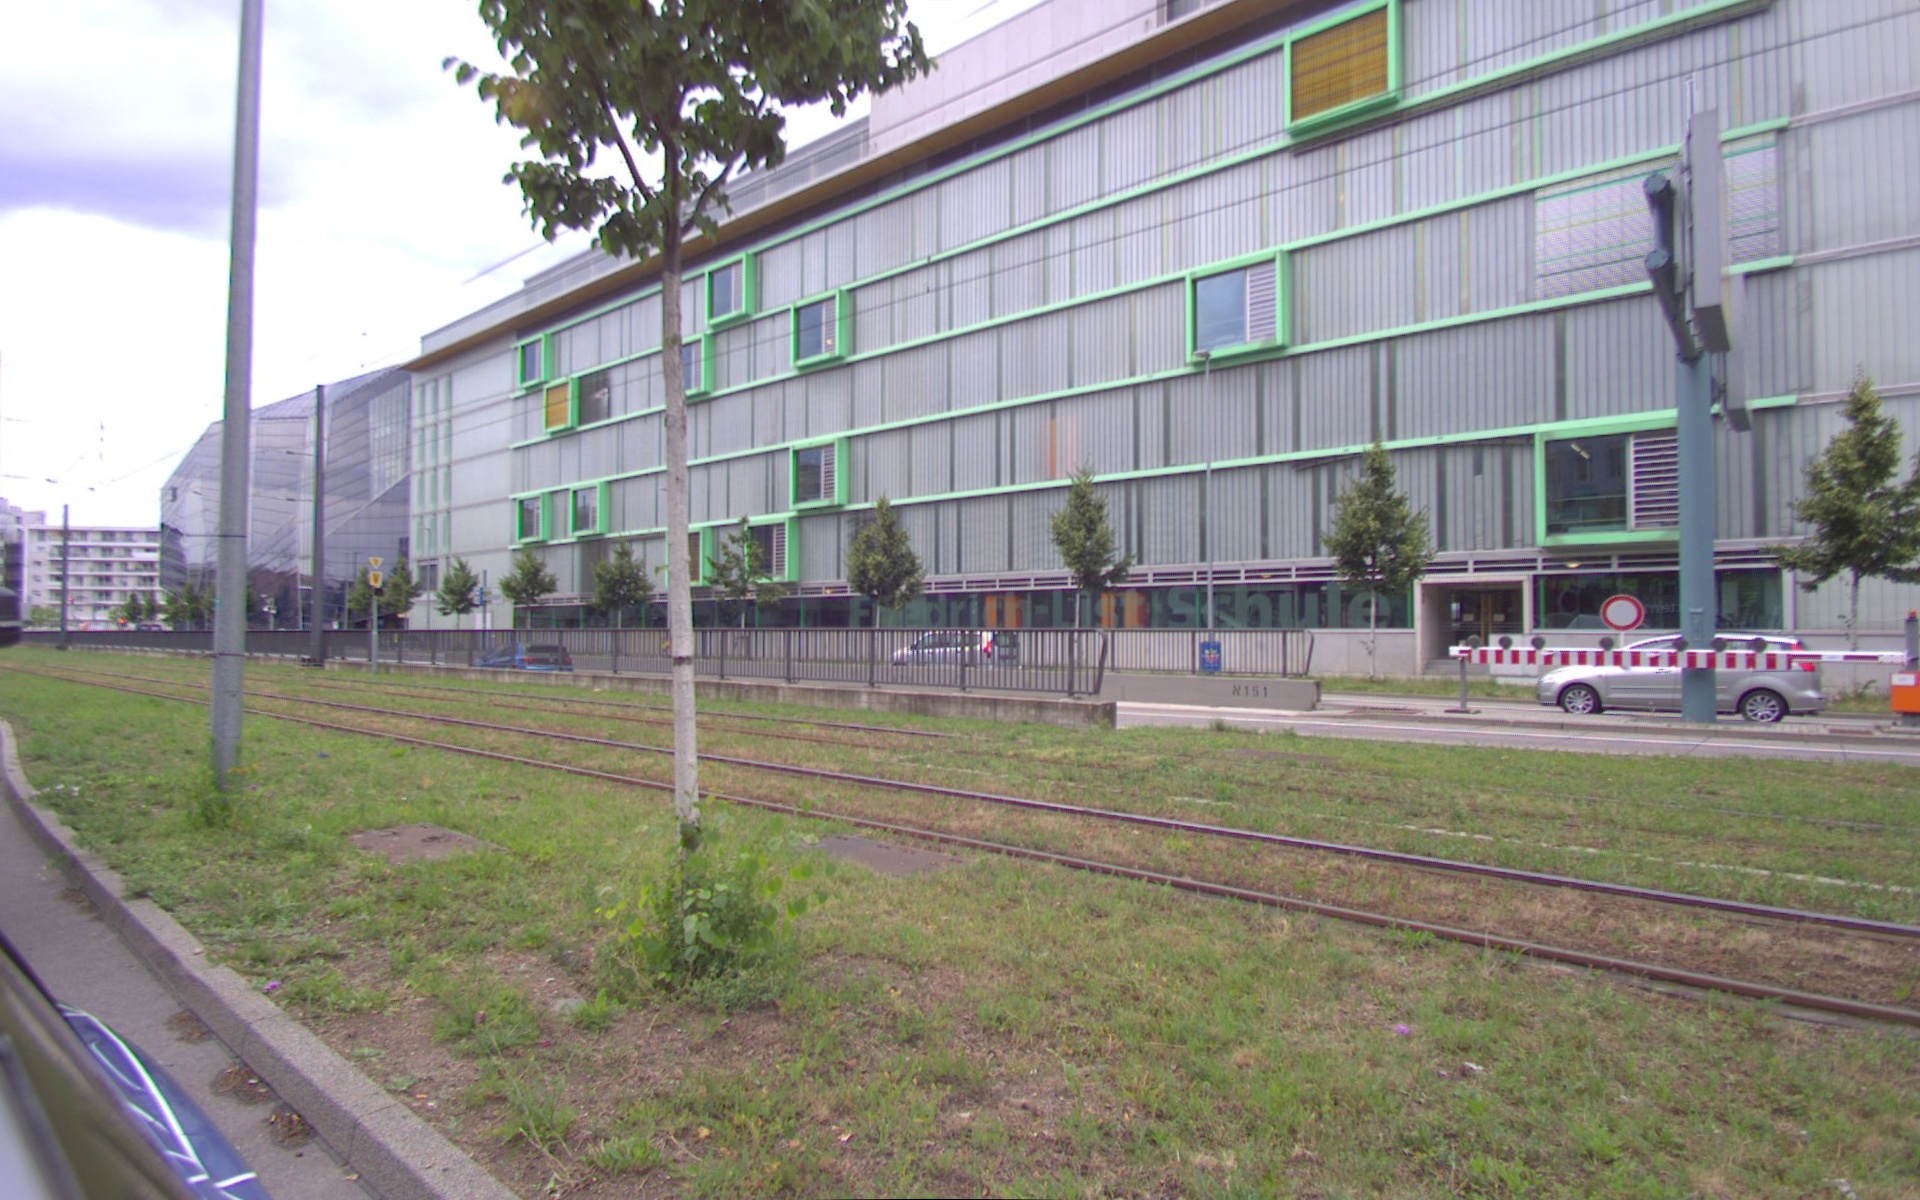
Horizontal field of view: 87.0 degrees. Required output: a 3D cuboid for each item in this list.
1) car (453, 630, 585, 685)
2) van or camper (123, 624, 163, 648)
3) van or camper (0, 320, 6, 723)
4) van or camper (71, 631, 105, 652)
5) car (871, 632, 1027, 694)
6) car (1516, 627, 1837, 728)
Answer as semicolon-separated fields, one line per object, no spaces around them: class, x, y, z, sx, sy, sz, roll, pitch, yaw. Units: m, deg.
car;-14.084;1.782;32.219;4.684;1.600;1.944;-2;-2;39
van or camper;-80.834;3.563;100.105;5.356;2.304;2.150;-2;-2;41
van or camper;-6.207;0.279;4.715;5.037;2.607;2.017;-2;-2;40
van or camper;-100.568;4.734;116.718;6.503;2.304;2.150;-2;-2;42
car;-0.387;1.812;30.317;4.574;1.582;1.779;0;1;39
car;13.136;1.347;18.816;4.670;1.656;1.704;-2;-2;39
